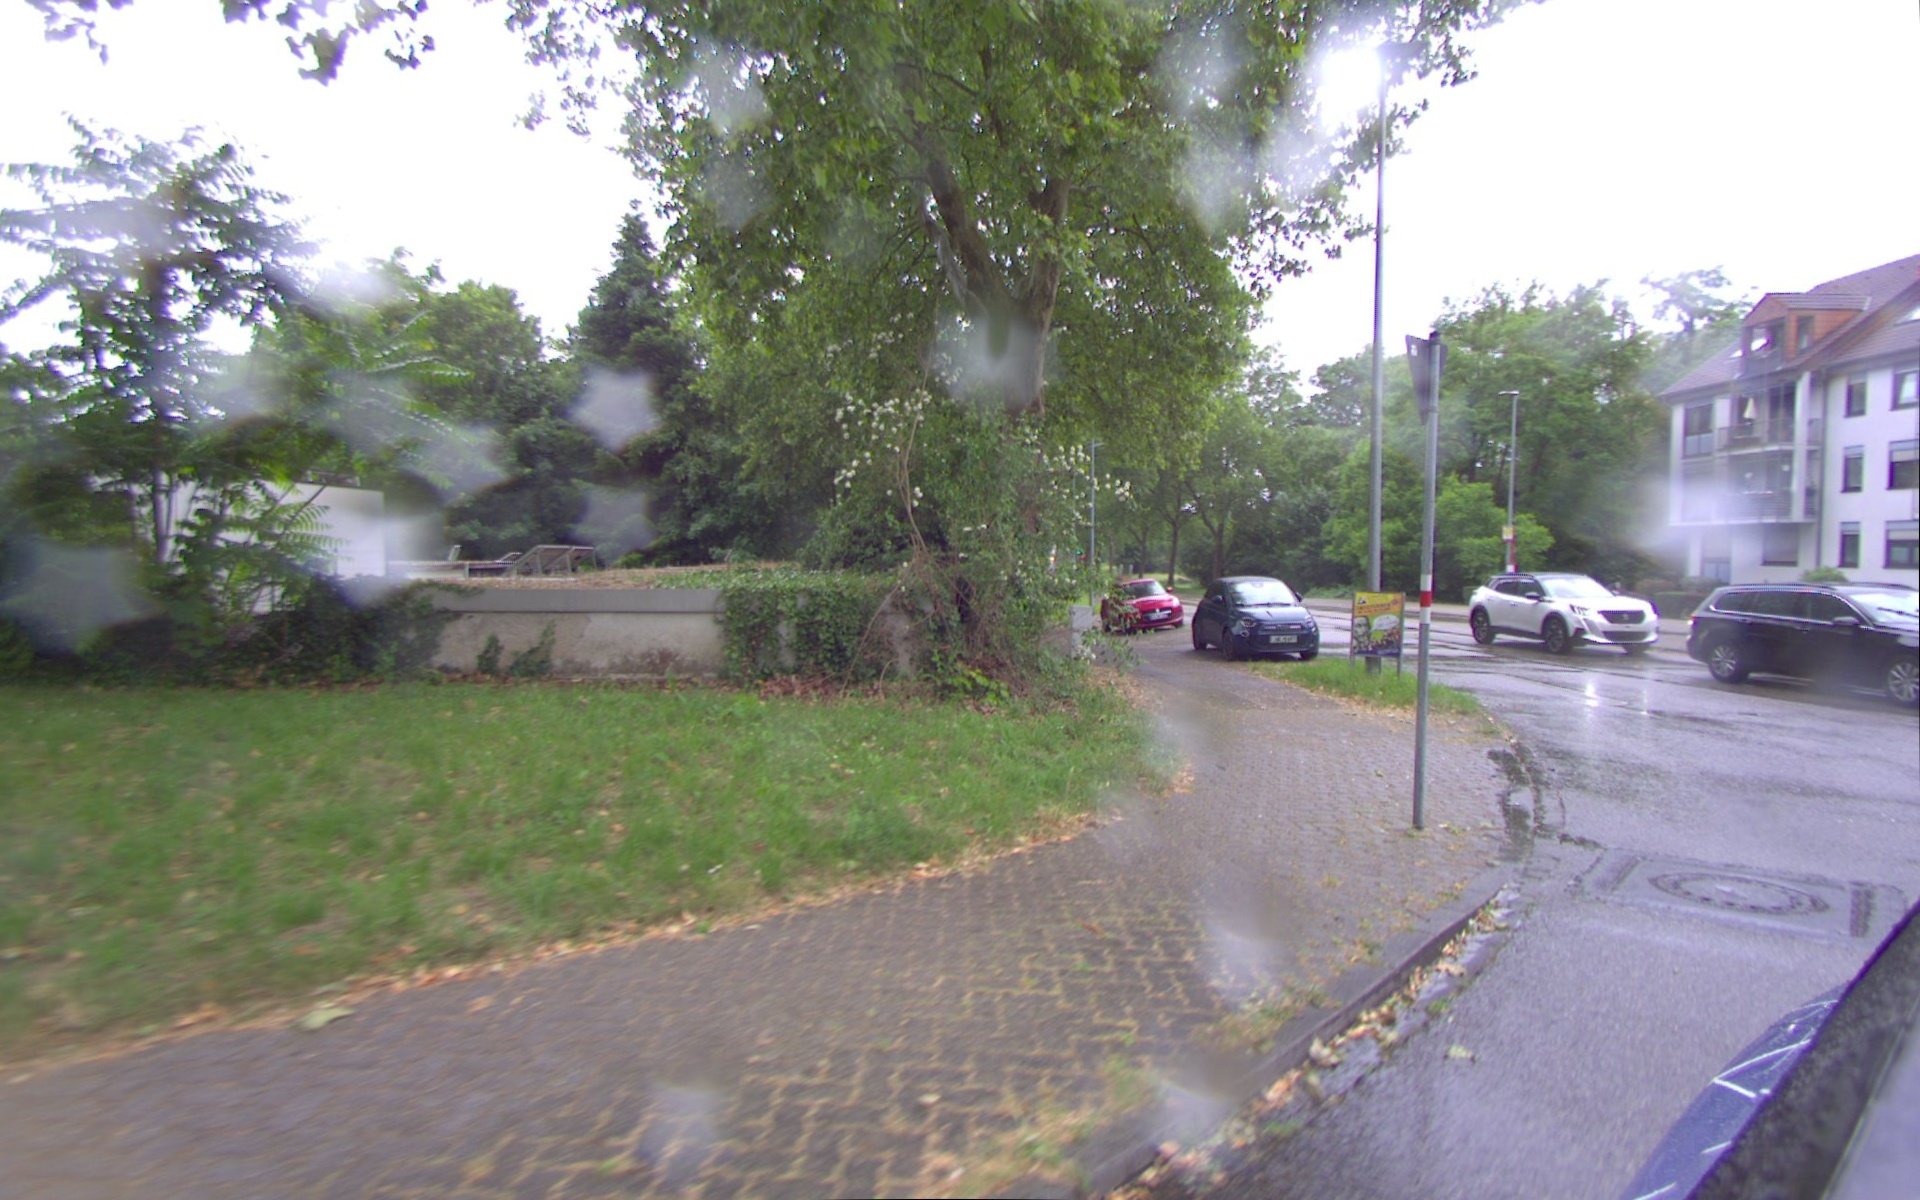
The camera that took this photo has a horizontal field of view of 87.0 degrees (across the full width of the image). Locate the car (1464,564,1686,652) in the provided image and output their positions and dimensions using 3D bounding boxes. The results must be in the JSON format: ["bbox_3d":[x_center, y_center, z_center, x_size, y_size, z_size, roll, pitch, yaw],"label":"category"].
[{"bbox_3d":[12.312,0.075,20.663,1.724,1.554,4.370,1,2,-1],"label":"car"}]

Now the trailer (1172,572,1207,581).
[{"bbox_3d":[31.010,-3.130,136.916,4.250,1.045,2.383,1,3,1],"label":"trailer"}]

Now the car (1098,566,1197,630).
[{"bbox_3d":[5.337,-0.071,29.320,1.790,1.536,3.746,-7,1,-4],"label":"car"}]

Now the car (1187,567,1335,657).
[{"bbox_3d":[5.784,0.152,19.891,1.721,1.510,3.602,-2,2,-1],"label":"car"}]

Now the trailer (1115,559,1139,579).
[{"bbox_3d":[25.605,-4.782,155.436,2.756,2.695,6.650,2,3,4],"label":"trailer"}]

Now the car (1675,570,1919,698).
[{"bbox_3d":[12.184,0.365,13.473,1.802,1.474,4.662,-2,1,-3],"label":"car"}]
